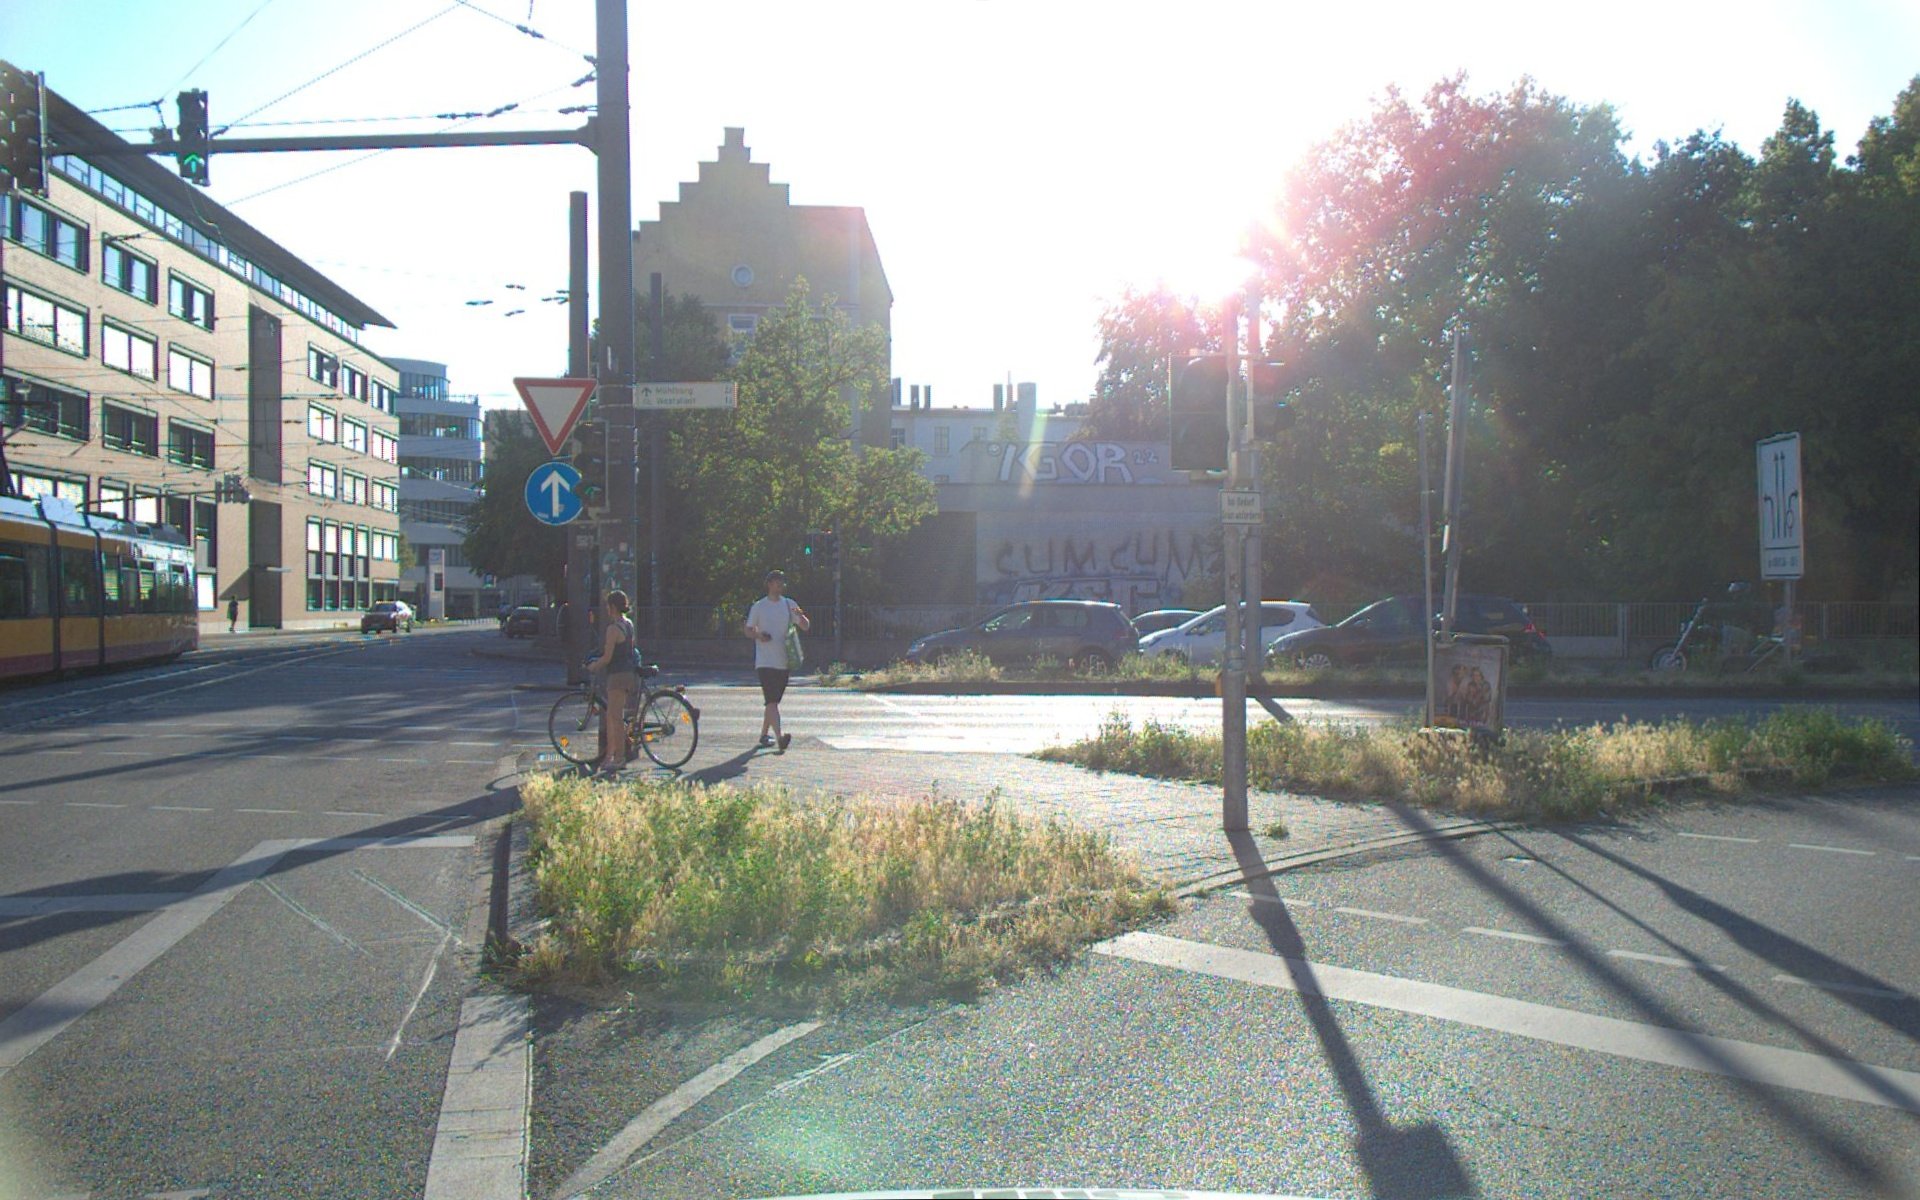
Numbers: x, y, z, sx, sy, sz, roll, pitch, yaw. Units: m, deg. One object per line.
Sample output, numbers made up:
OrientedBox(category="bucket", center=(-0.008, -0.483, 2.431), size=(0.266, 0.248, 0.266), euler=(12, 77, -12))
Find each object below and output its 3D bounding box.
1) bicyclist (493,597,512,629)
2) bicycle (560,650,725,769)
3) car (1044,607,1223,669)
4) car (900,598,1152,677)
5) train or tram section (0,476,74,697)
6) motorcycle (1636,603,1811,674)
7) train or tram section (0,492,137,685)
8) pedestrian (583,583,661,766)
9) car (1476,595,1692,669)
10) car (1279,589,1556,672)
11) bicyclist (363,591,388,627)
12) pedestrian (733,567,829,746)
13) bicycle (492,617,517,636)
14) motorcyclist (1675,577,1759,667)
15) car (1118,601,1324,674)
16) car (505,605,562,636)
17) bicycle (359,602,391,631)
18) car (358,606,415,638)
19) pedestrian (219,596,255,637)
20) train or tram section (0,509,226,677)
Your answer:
OrientedBox(category="bicyclist", center=(-21.813, 0.618, 78.874), size=(0.660, 1.549, 0.813), euler=(0, 0, -3))
OrientedBox(category="bicycle", center=(-2.977, 1.000, 15.441), size=(1.635, 1.047, 0.399), euler=(-1, -1, 29))
OrientedBox(category="car", center=(3.815, 0.820, 36.224), size=(3.799, 1.319, 1.726), euler=(-1, 0, 8))
OrientedBox(category="car", center=(1.178, 0.644, 28.782), size=(4.144, 1.319, 1.726), euler=(-1, 0, 11))
OrientedBox(category="train or tram section", center=(-16.292, -0.224, 24.260), size=(2.813, 3.569, 12.963), euler=(0, 0, -15))
OrientedBox(category="motorcycle", center=(12.275, 0.616, 26.679), size=(2.409, 1.127, 0.862), euler=(-1, 0, 10))
OrientedBox(category="train or tram section", center=(-18.623, -0.197, 33.086), size=(2.813, 3.569, 5.282), euler=(0, 0, -15))
OrientedBox(category="pedestrian", center=(-3.141, 0.680, 15.390), size=(0.514, 1.660, 0.489), euler=(-1, -1, 28))
OrientedBox(category="car", center=(13.135, 0.650, 34.990), size=(3.903, 1.489, 1.860), euler=(0, 0, 3))
OrientedBox(category="car", center=(7.510, 0.498, 27.521), size=(4.269, 1.319, 1.726), euler=(-1, 0, 10))
OrientedBox(category="bicyclist", center=(-34.004, 0.518, 96.215), size=(1.009, 2.049, 1.246), euler=(1, -2, -3))
OrientedBox(category="pedestrian", center=(-1.885, 0.572, 17.342), size=(0.893, 1.820, 0.824), euler=(0, 0, -14))
OrientedBox(category="bicycle", center=(-21.814, 1.271, 79.222), size=(0.681, 0.892, 2.026), euler=(0, 0, -3))
OrientedBox(category="motorcyclist", center=(12.218, 0.360, 26.708), size=(1.035, 1.422, 0.855), euler=(-1, 0, 10))
OrientedBox(category="car", center=(4.981, 0.705, 31.761), size=(3.799, 1.342, 1.726), euler=(-1, 0, 8))
OrientedBox(category="car", center=(-19.808, 0.937, 76.933), size=(1.749, 1.412, 3.998), euler=(0, 0, -2))
OrientedBox(category="bicycle", center=(-34.010, 0.962, 96.176), size=(1.009, 1.680, 2.559), euler=(0, 0, -2))
OrientedBox(category="car", center=(-30.439, 1.139, 87.955), size=(1.780, 1.643, 4.461), euler=(0, 0, -4))
OrientedBox(category="pedestrian", center=(-37.013, 0.844, 84.719), size=(1.215, 2.049, 1.553), euler=(0, 0, -4))
OrientedBox(category="train or tram section", center=(-20.743, -0.129, 41.013), size=(2.813, 3.569, 11.252), euler=(0, 0, -15))
